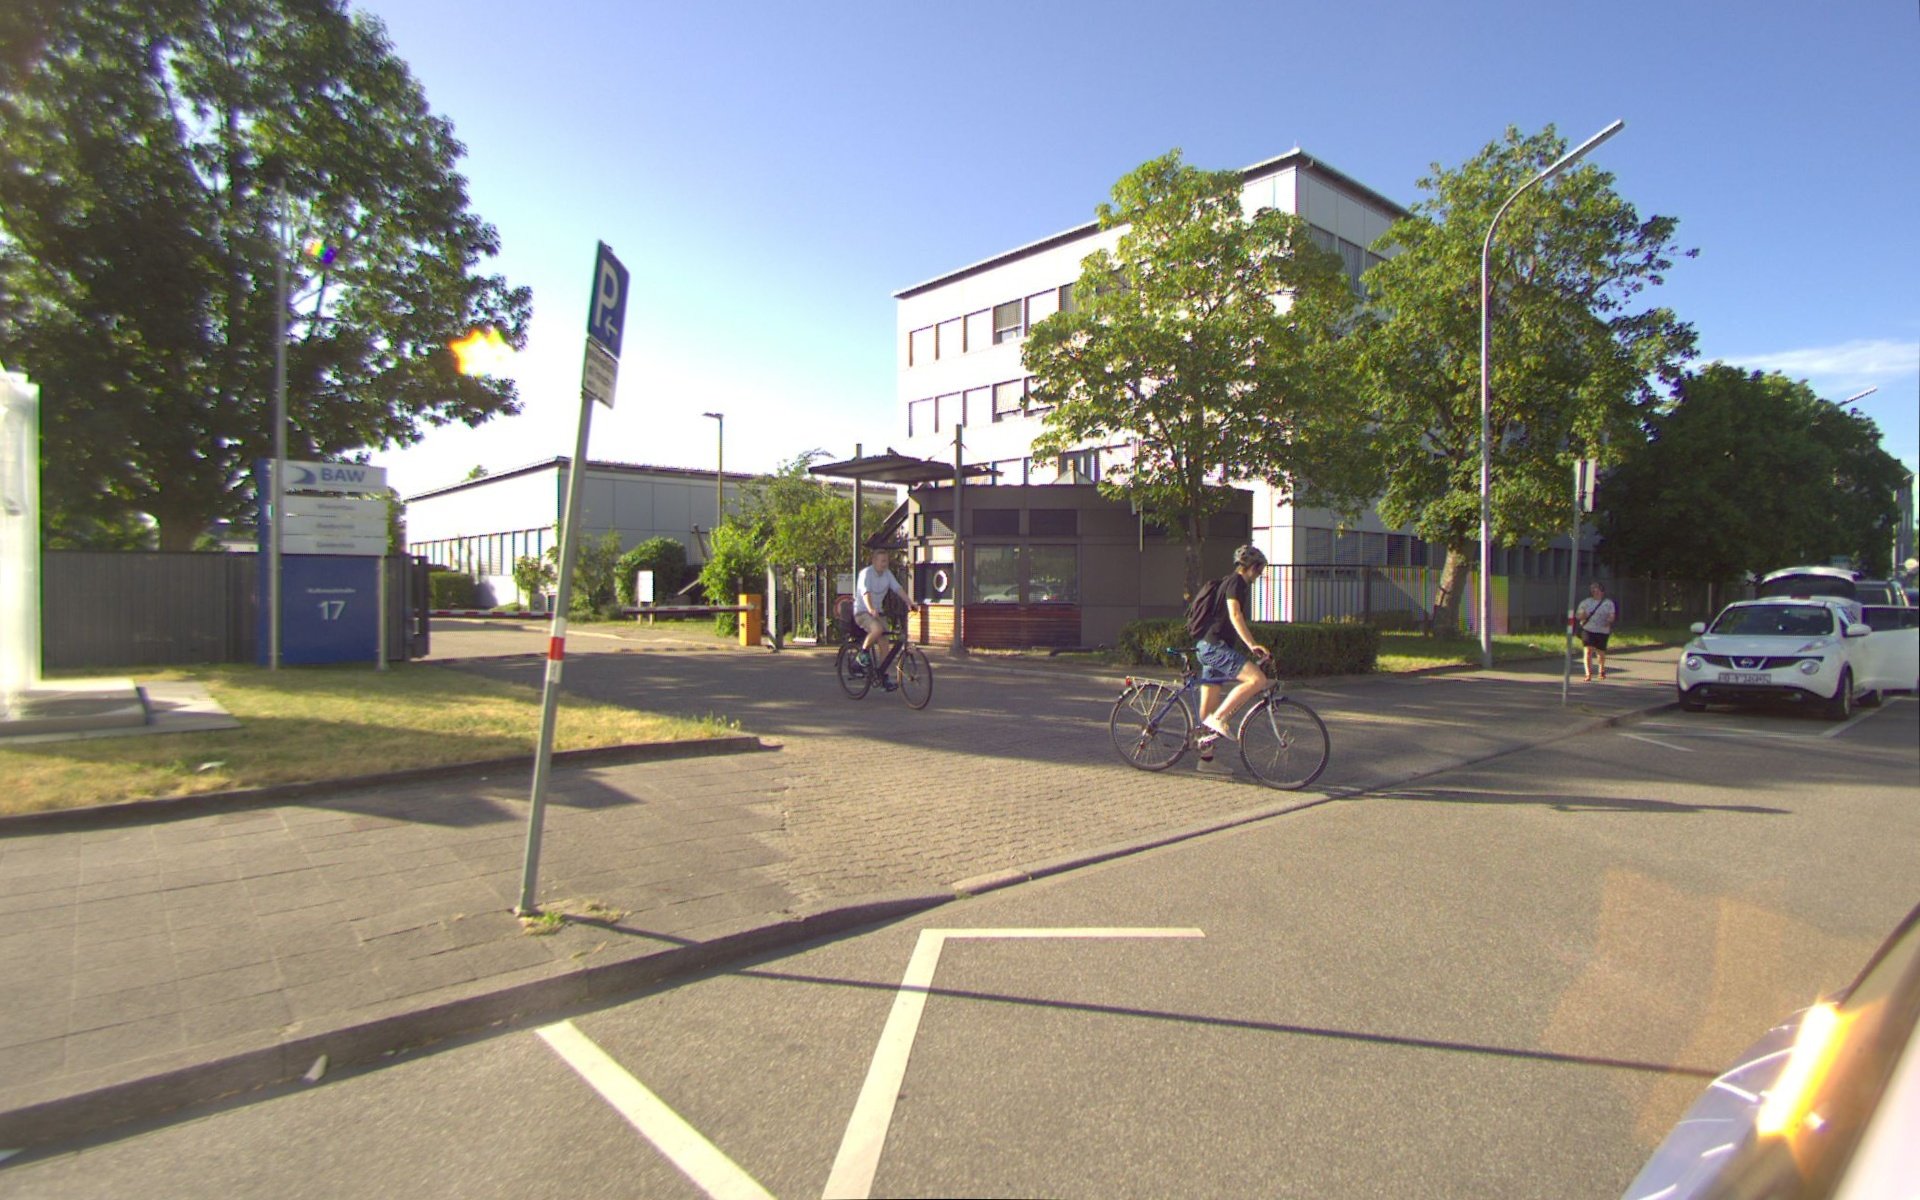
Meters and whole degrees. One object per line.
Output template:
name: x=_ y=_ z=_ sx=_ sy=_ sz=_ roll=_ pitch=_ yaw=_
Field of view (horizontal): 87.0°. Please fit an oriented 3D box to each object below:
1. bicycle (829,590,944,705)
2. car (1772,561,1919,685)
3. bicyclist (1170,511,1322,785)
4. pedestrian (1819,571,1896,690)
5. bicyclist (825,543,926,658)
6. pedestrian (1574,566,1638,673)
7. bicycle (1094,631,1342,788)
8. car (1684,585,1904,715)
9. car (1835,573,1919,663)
bicycle: x=-0.891 y=0.498 z=11.721 sx=0.654 sy=1.157 sz=1.906 roll=1 pitch=2 yaw=-25
car: x=15.856 y=0.350 z=17.806 sx=4.940 sy=1.893 sz=1.865 roll=0 pitch=-1 yaw=-45
bicyclist: x=2.331 y=0.338 z=8.203 sx=1.040 sy=2.038 sz=0.953 roll=3 pitch=1 yaw=20
pedestrian: x=13.622 y=0.452 z=15.371 sx=0.690 sy=1.768 sz=0.591 roll=0 pitch=-1 yaw=-23
bicyclist: x=-1.017 y=-0.008 z=11.975 sx=0.844 sy=1.284 sz=1.102 roll=0 pitch=1 yaw=-25
pedestrian: x=10.951 y=0.315 z=17.160 sx=0.762 sy=1.750 sz=0.692 roll=0 pitch=2 yaw=-42
bicycle: x=2.101 y=0.850 z=8.285 sx=1.862 sy=1.020 sz=0.697 roll=3 pitch=3 yaw=20
car: x=11.569 y=0.586 z=13.942 sx=4.042 sy=1.533 sz=1.667 roll=0 pitch=-1 yaw=-41
car: x=20.606 y=0.359 z=22.082 sx=4.220 sy=1.817 sz=1.704 roll=0 pitch=-1 yaw=-41
